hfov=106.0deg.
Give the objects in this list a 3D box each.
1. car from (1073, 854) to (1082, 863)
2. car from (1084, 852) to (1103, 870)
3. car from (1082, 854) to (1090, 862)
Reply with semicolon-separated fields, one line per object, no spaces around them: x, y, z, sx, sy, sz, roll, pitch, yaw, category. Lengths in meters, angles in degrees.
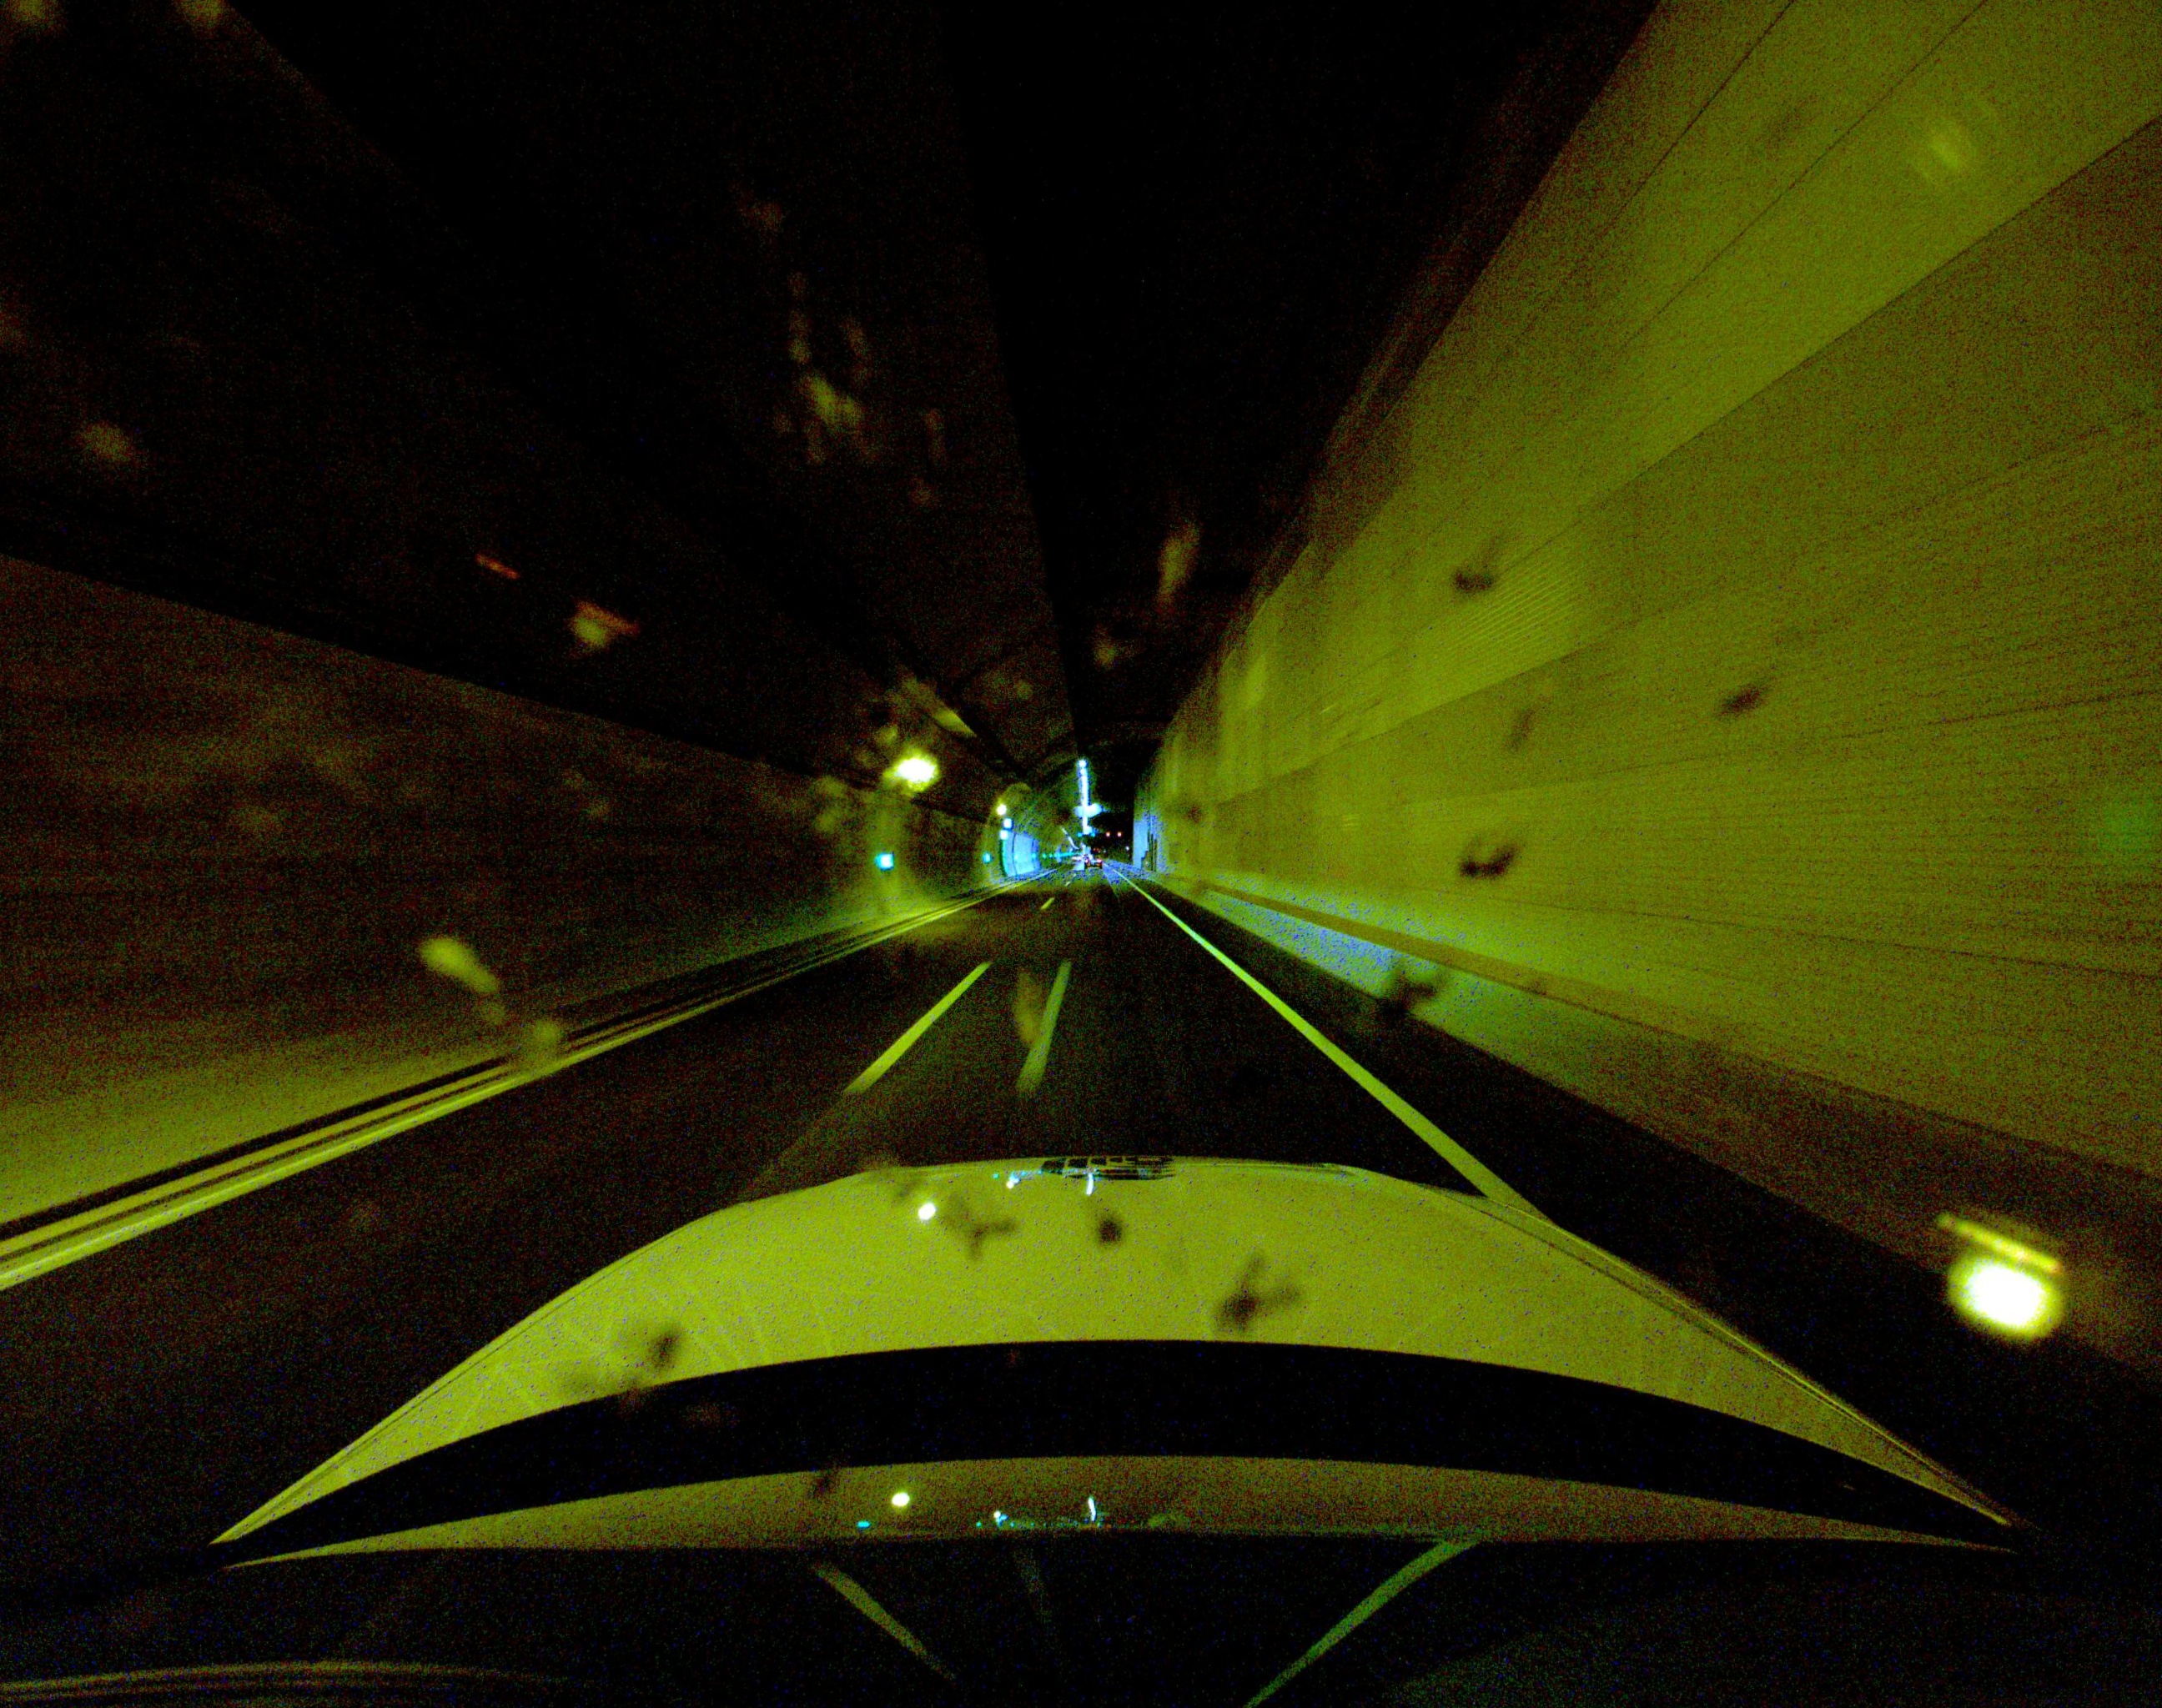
-0.729;0.976;172.939;1.924;1.687;3.999;-2;0;0;car
1.298;0.707;85.929;1.940;1.794;4.000;-2;0;1;car
1.209;0.978;189.800;1.924;1.687;4.000;-2;0;0;car
